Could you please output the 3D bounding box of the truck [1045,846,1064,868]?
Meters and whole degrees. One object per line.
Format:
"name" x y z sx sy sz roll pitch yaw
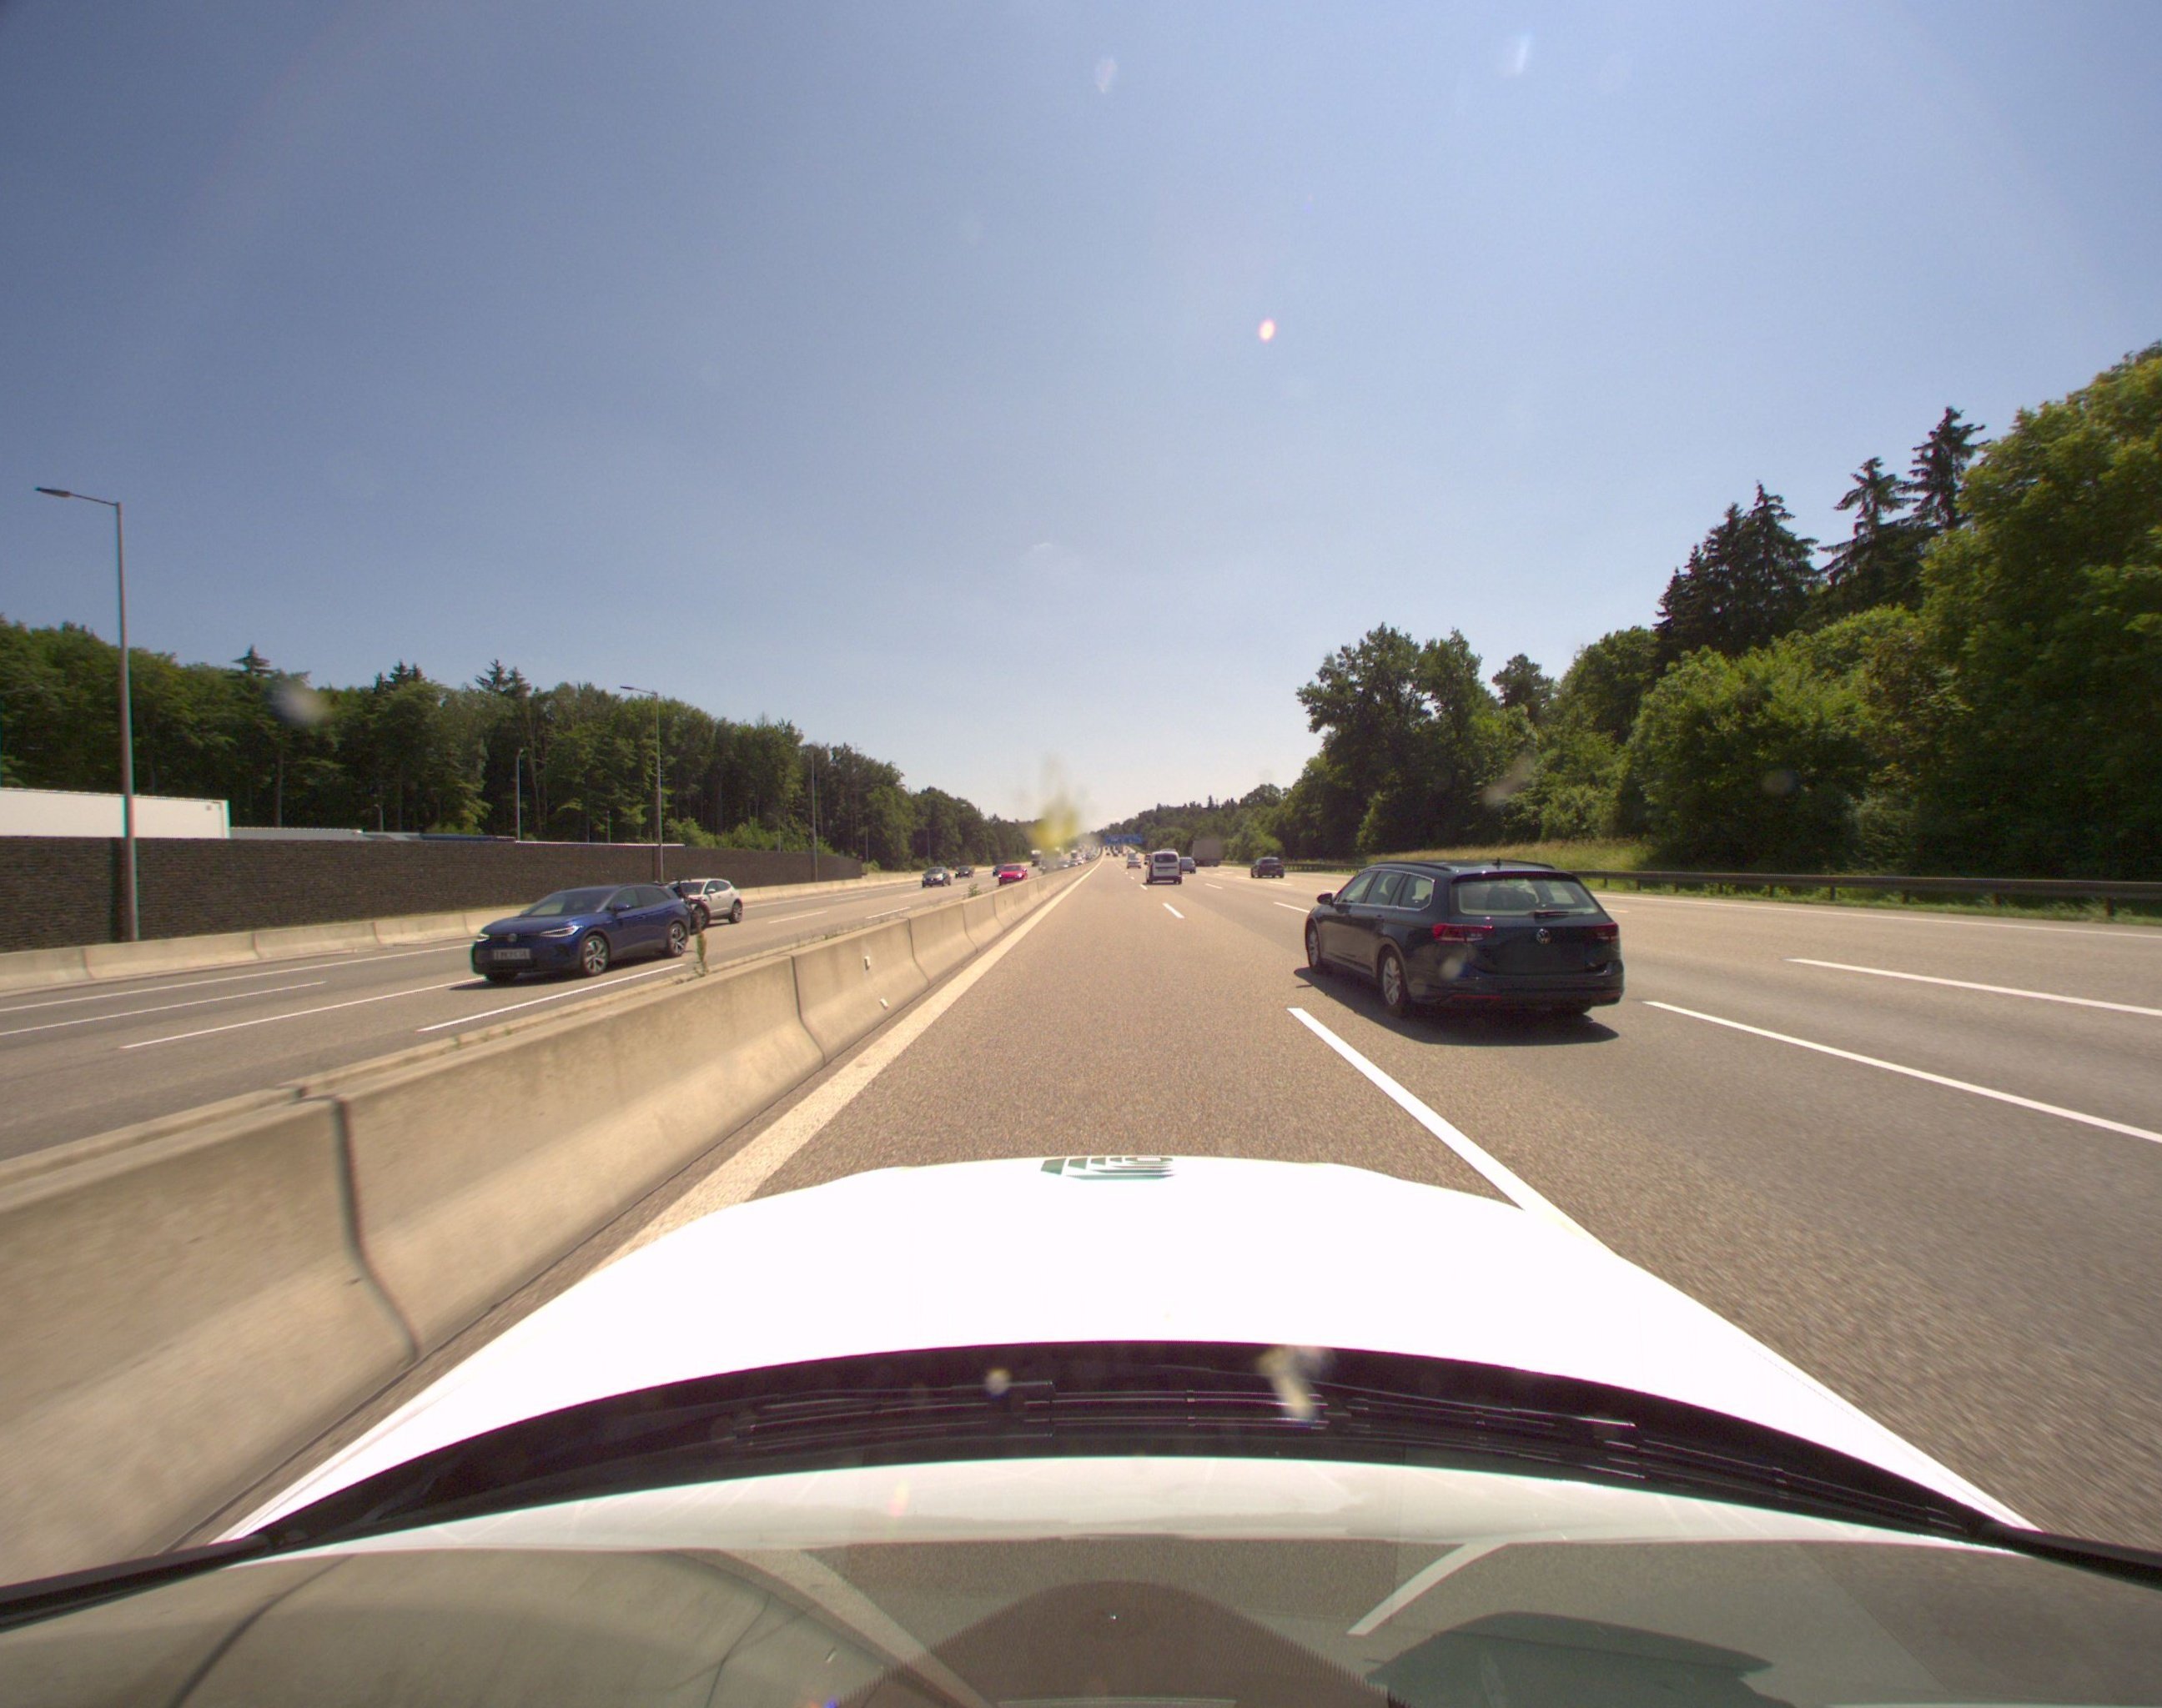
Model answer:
"truck" -5.132 0.600 158.175 3.036 4.137 6.951 -3 0 1

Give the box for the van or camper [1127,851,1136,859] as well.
"van or camper" 15.770 0.277 253.441 2.635 2.539 6.504 -2 0 2

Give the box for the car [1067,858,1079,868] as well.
"car" -1.455 1.605 145.689 1.987 1.487 5.135 -6 0 0

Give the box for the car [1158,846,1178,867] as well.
"car" 11.432 0.289 107.096 2.135 2.652 5.712 -1 1 2

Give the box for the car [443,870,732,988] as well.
"car" -9.432 1.301 16.417 1.986 1.774 5.926 -2 0 2

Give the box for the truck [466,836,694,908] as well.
"truck" -43.890 1.366 72.418 16.806 5.612 3.408 -2 0 -44

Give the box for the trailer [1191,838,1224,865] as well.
"trailer" 19.319 -0.389 125.489 3.276 3.930 13.894 0 1 1

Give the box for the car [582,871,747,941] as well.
"car" -12.993 1.531 25.973 1.986 1.774 5.926 -2 0 2

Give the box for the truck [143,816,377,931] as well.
"truck" -43.733 0.899 43.868 8.537 5.612 3.188 -2 0 -44

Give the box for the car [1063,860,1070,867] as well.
"car" -3.579 2.306 199.908 1.717 1.506 4.460 -2 0 0

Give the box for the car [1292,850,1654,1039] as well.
"car" 3.710 0.713 8.874 1.723 1.447 4.964 -1 0 2

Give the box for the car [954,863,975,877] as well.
"car" -14.789 1.971 103.329 1.987 1.621 4.214 -2 0 0

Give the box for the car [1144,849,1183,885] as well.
"car" 4.600 0.707 46.007 1.852 1.826 4.615 -2 0 2

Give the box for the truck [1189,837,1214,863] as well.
"truck" 19.507 -0.600 132.200 3.242 4.106 5.990 0 1 2

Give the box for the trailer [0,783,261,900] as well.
"trailer" -30.328 -0.290 21.094 2.961 3.124 14.615 -2 0 2

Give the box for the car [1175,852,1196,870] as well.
"car" 9.358 0.653 73.211 1.497 1.500 3.651 -3 0 2

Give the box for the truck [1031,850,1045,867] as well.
"truck" -10.636 1.083 203.635 2.825 4.197 10.595 -2 0 0

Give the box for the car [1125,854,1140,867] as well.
"car" 6.939 0.924 109.335 1.836 1.629 4.555 -3 0 2

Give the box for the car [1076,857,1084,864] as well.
"car" -0.209 1.471 178.487 1.742 1.457 4.156 -2 0 0

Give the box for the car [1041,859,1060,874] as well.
"car" -3.528 1.425 94.962 1.987 1.663 5.753 -3 0 0

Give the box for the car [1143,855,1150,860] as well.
"car" 18.203 1.005 226.967 1.829 1.338 3.644 -3 0 2

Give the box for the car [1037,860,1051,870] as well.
"car" -6.031 1.812 133.602 1.987 1.487 5.018 -4 0 0

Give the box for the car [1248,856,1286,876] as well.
"car" 12.739 0.815 55.969 1.665 1.273 4.289 0 0 0

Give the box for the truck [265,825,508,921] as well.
"truck" -44.509 0.992 52.747 11.604 5.612 3.188 -2 0 -44

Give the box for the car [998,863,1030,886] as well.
"car" -4.800 1.457 58.978 1.724 1.513 5.046 -2 0 2

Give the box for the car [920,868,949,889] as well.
"car" -11.884 1.947 66.231 1.717 1.555 4.055 -2 0 -1

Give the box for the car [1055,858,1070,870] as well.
"car" -2.712 1.482 118.757 1.987 1.663 4.971 -3 0 1

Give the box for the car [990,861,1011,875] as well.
"car" -10.320 1.776 104.846 1.986 1.621 5.756 -2 0 1

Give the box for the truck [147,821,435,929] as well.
"truck" -45.111 0.981 47.248 11.604 5.612 3.188 -2 0 -44

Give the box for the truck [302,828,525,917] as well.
"truck" -45.694 1.074 56.233 11.604 5.612 3.326 -2 0 -44
